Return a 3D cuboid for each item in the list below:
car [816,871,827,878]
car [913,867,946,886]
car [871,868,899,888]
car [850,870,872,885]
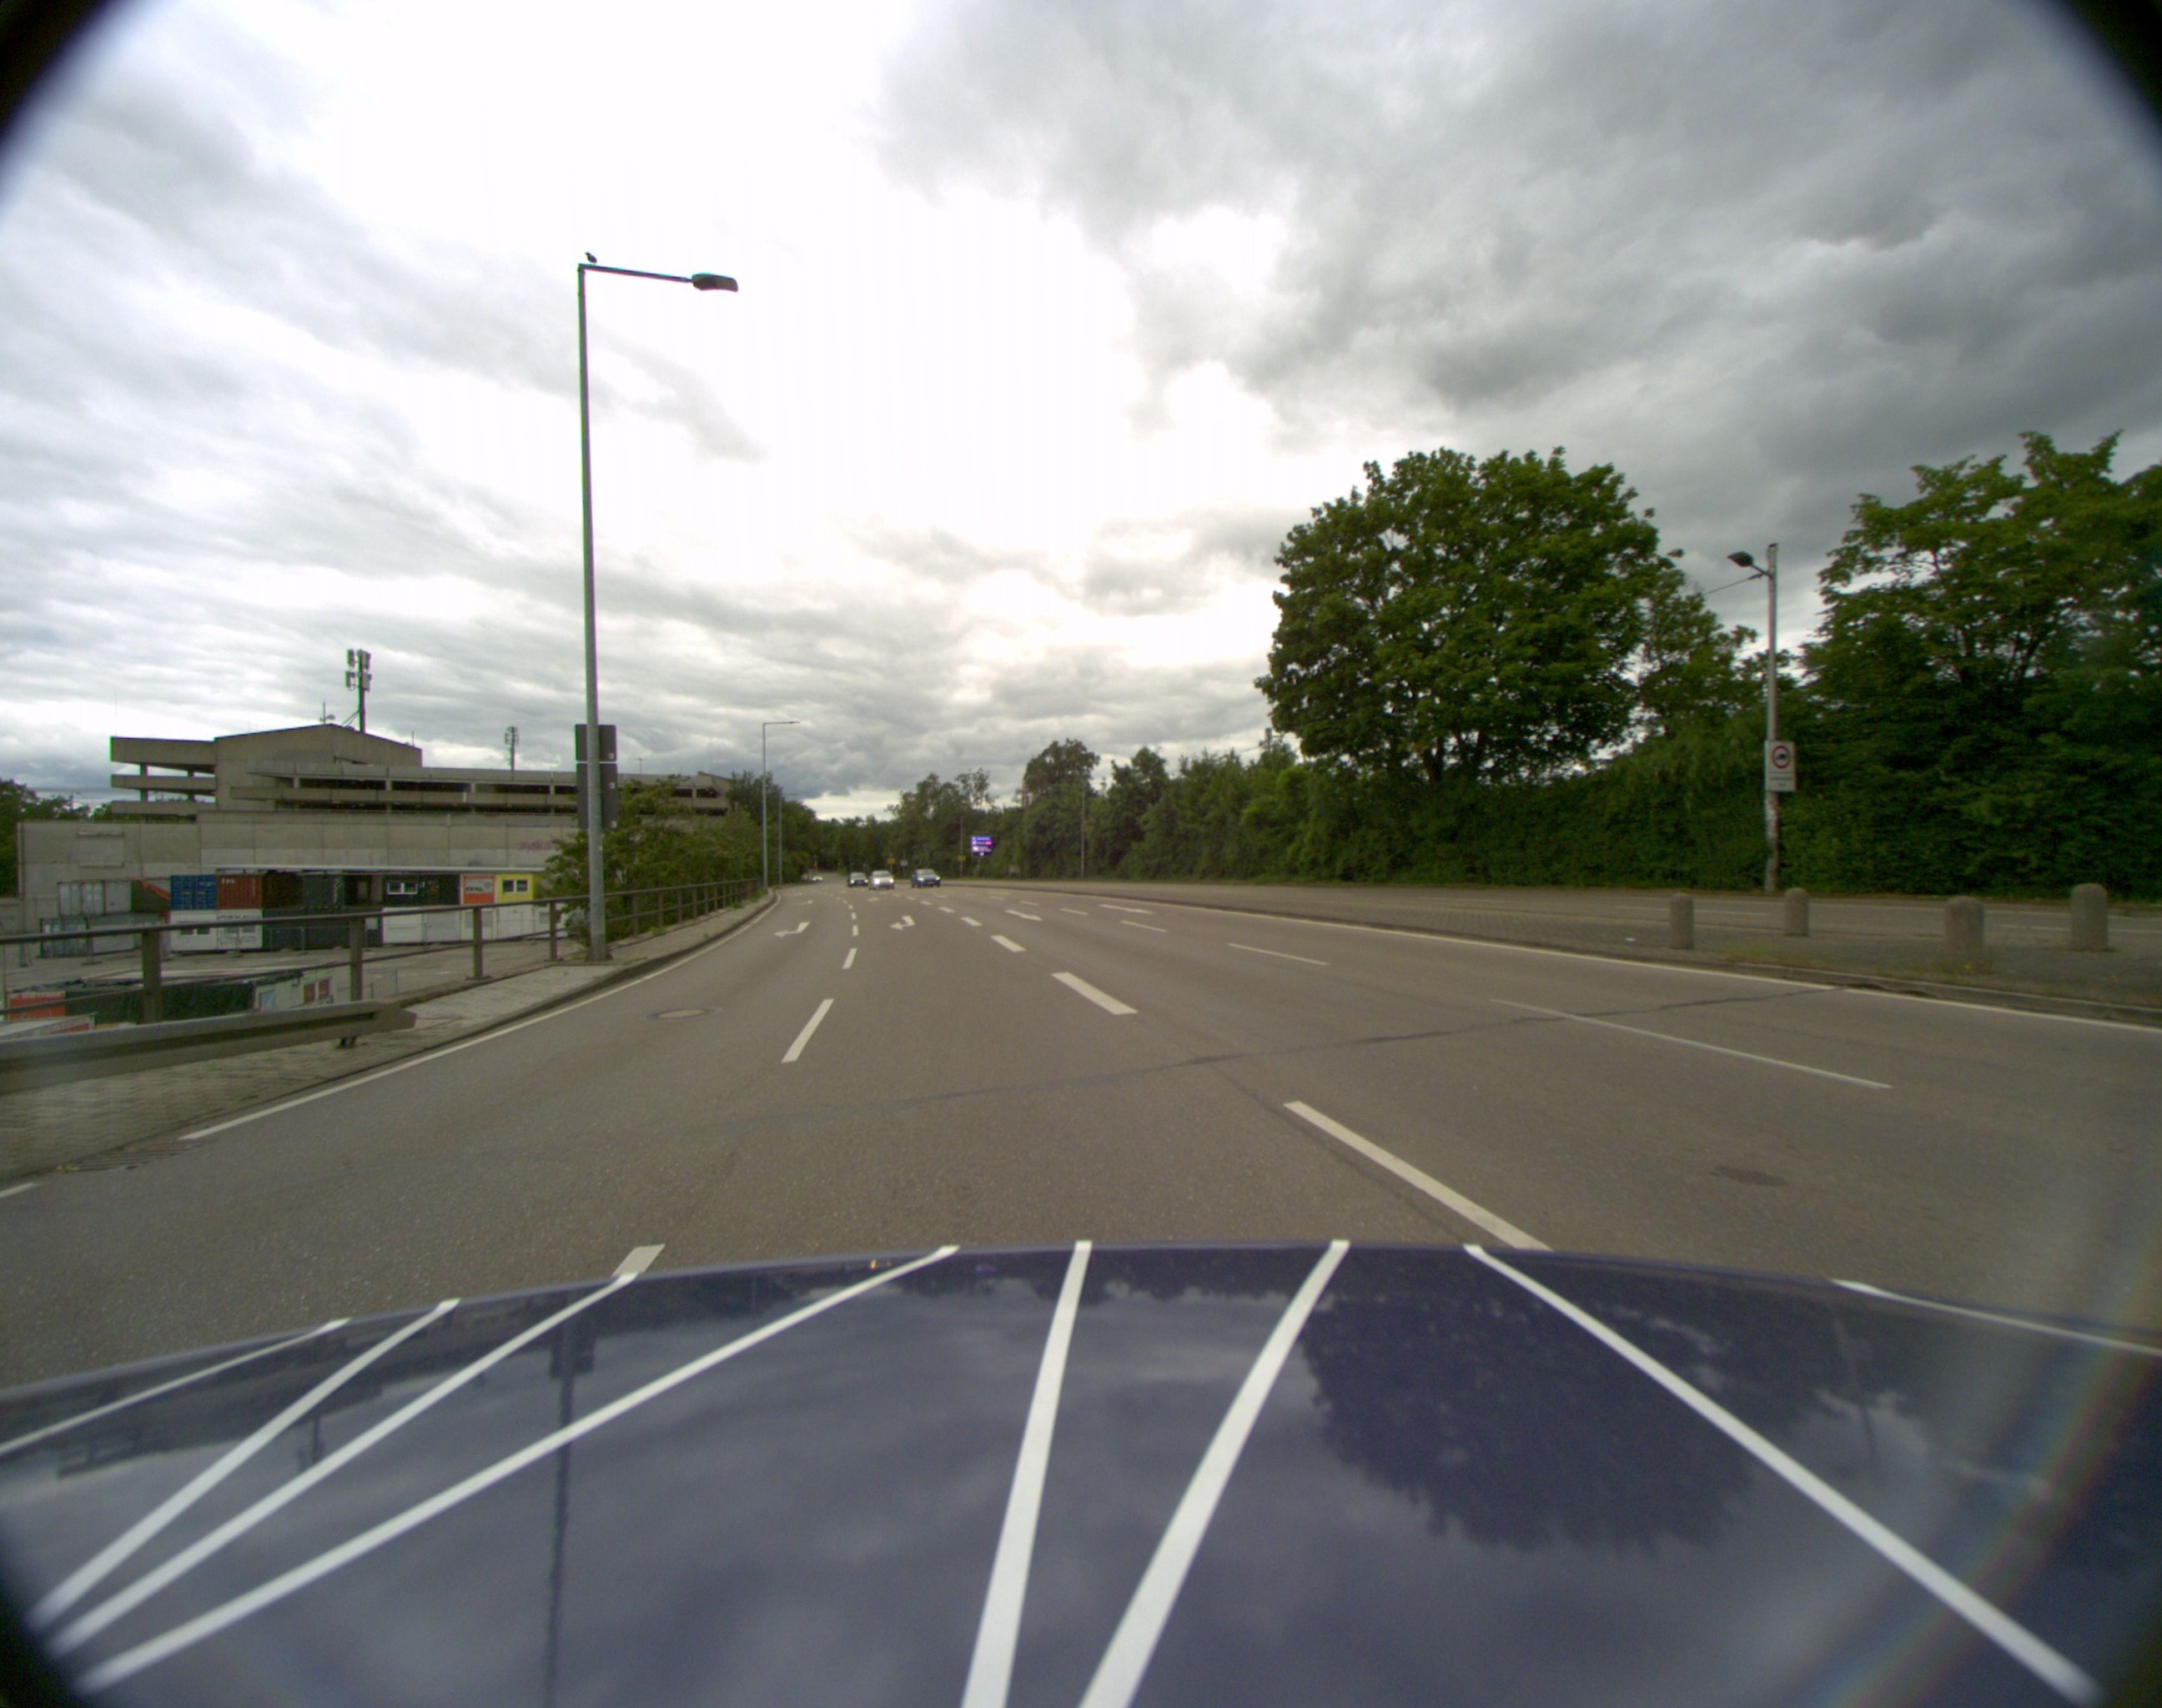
[{"bbox_3d":[-55.126,4.304,161.298,1.868,1.408,4.331,-2,0,-21],"label":"car"},{"bbox_3d":[-12.280,1.757,61.361,1.845,1.408,4.572,-2,0,-20],"label":"car"},{"bbox_3d":[-15.351,1.855,59.425,1.612,1.408,3.585,-2,0,-23],"label":"car"},{"bbox_3d":[-22.233,2.314,76.709,1.868,1.408,4.331,-2,0,-20],"label":"car"}]
